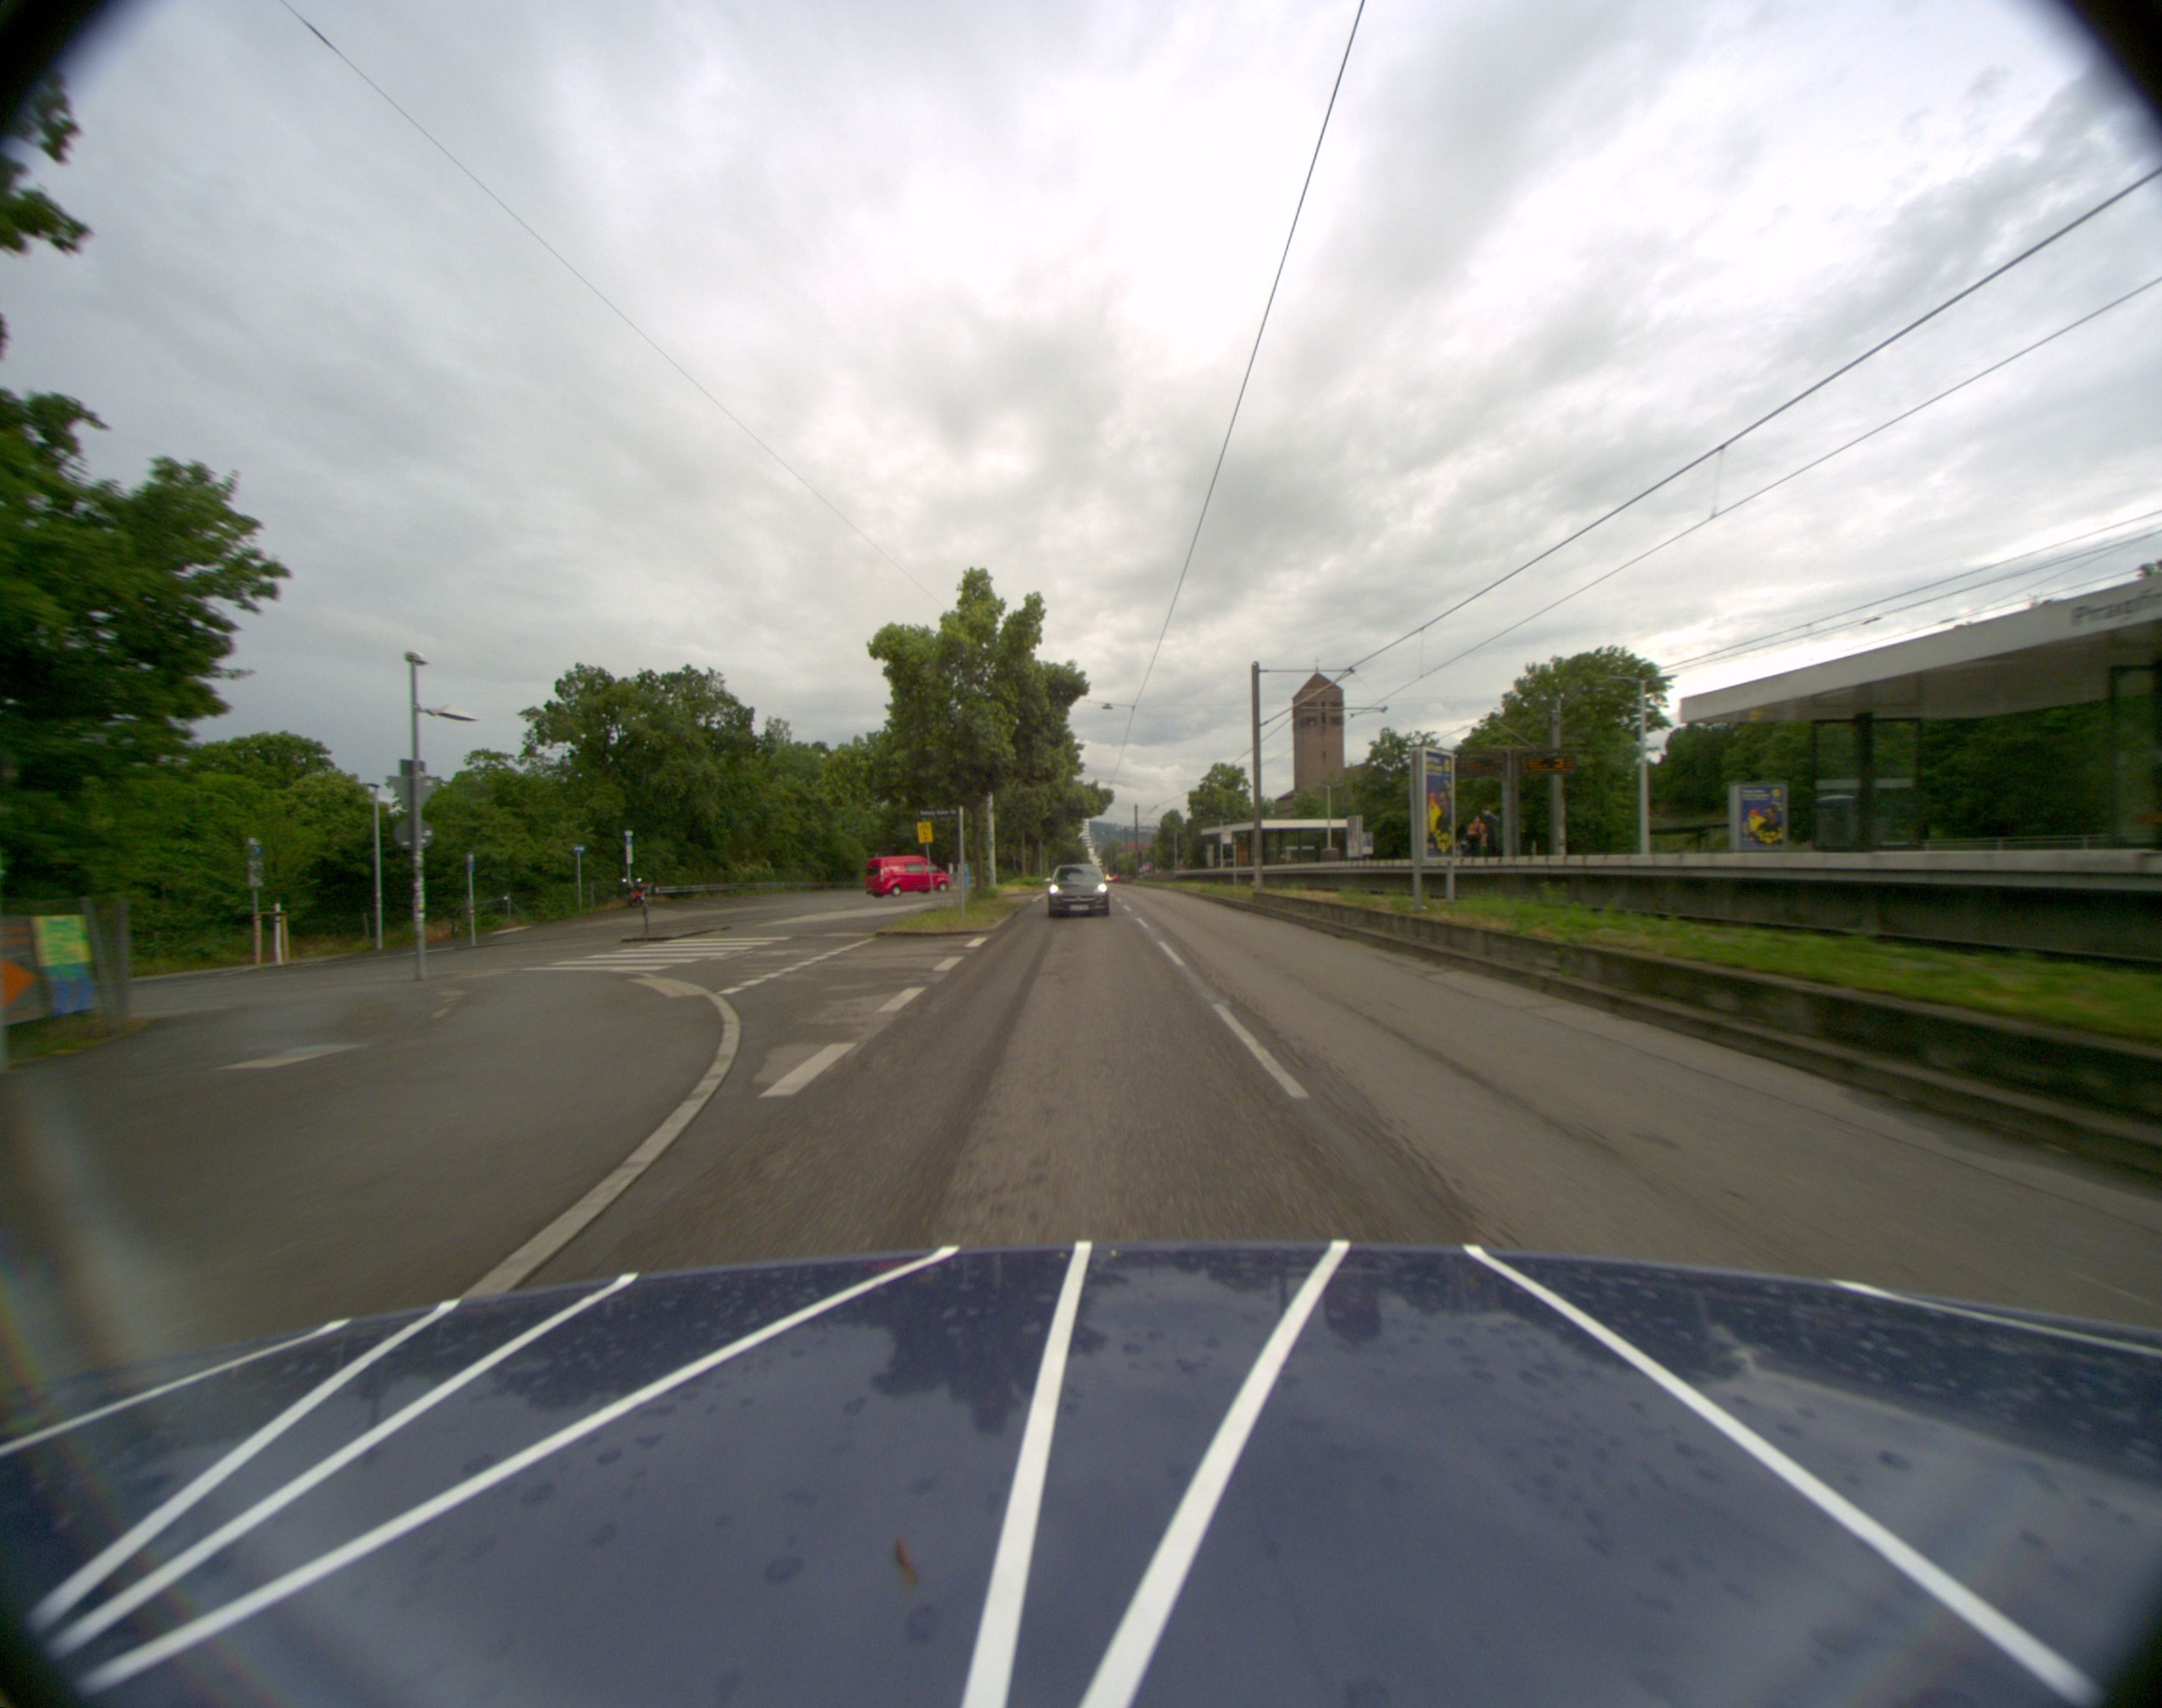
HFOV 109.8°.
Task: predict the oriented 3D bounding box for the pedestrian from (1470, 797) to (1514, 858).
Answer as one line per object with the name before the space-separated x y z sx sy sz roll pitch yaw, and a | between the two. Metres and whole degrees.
pedestrian | 13.350 -0.844 24.695 0.746 1.897 0.841 -3 -2 -21

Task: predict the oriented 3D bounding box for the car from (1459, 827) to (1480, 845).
car | 46.011 -2.145 89.917 1.995 2.002 4.007 -3 1 30

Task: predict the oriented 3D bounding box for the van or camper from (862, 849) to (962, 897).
van or camper | -9.994 1.097 45.199 2.036 2.391 5.401 -6 -1 43

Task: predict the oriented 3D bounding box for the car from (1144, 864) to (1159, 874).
car | 12.922 2.732 139.294 1.999 1.614 4.517 -2 -1 -2

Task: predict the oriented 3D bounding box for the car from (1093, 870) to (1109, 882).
car | 2.567 2.745 95.146 1.768 1.502 4.343 -1 -1 4

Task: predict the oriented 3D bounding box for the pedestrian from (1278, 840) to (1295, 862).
pedestrian | 11.799 -0.172 43.634 0.712 1.218 0.619 -2 -1 -1

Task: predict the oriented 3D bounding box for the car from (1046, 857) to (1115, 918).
car | -0.041 0.965 22.540 1.746 1.543 4.494 -3 -2 -1

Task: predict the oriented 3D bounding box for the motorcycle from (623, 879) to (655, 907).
motorcycle | -20.865 1.821 35.862 2.018 1.207 0.474 1 6 38

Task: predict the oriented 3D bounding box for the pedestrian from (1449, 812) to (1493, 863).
pedestrian | 13.145 -0.554 25.598 0.798 1.637 0.917 -3 -2 -22
